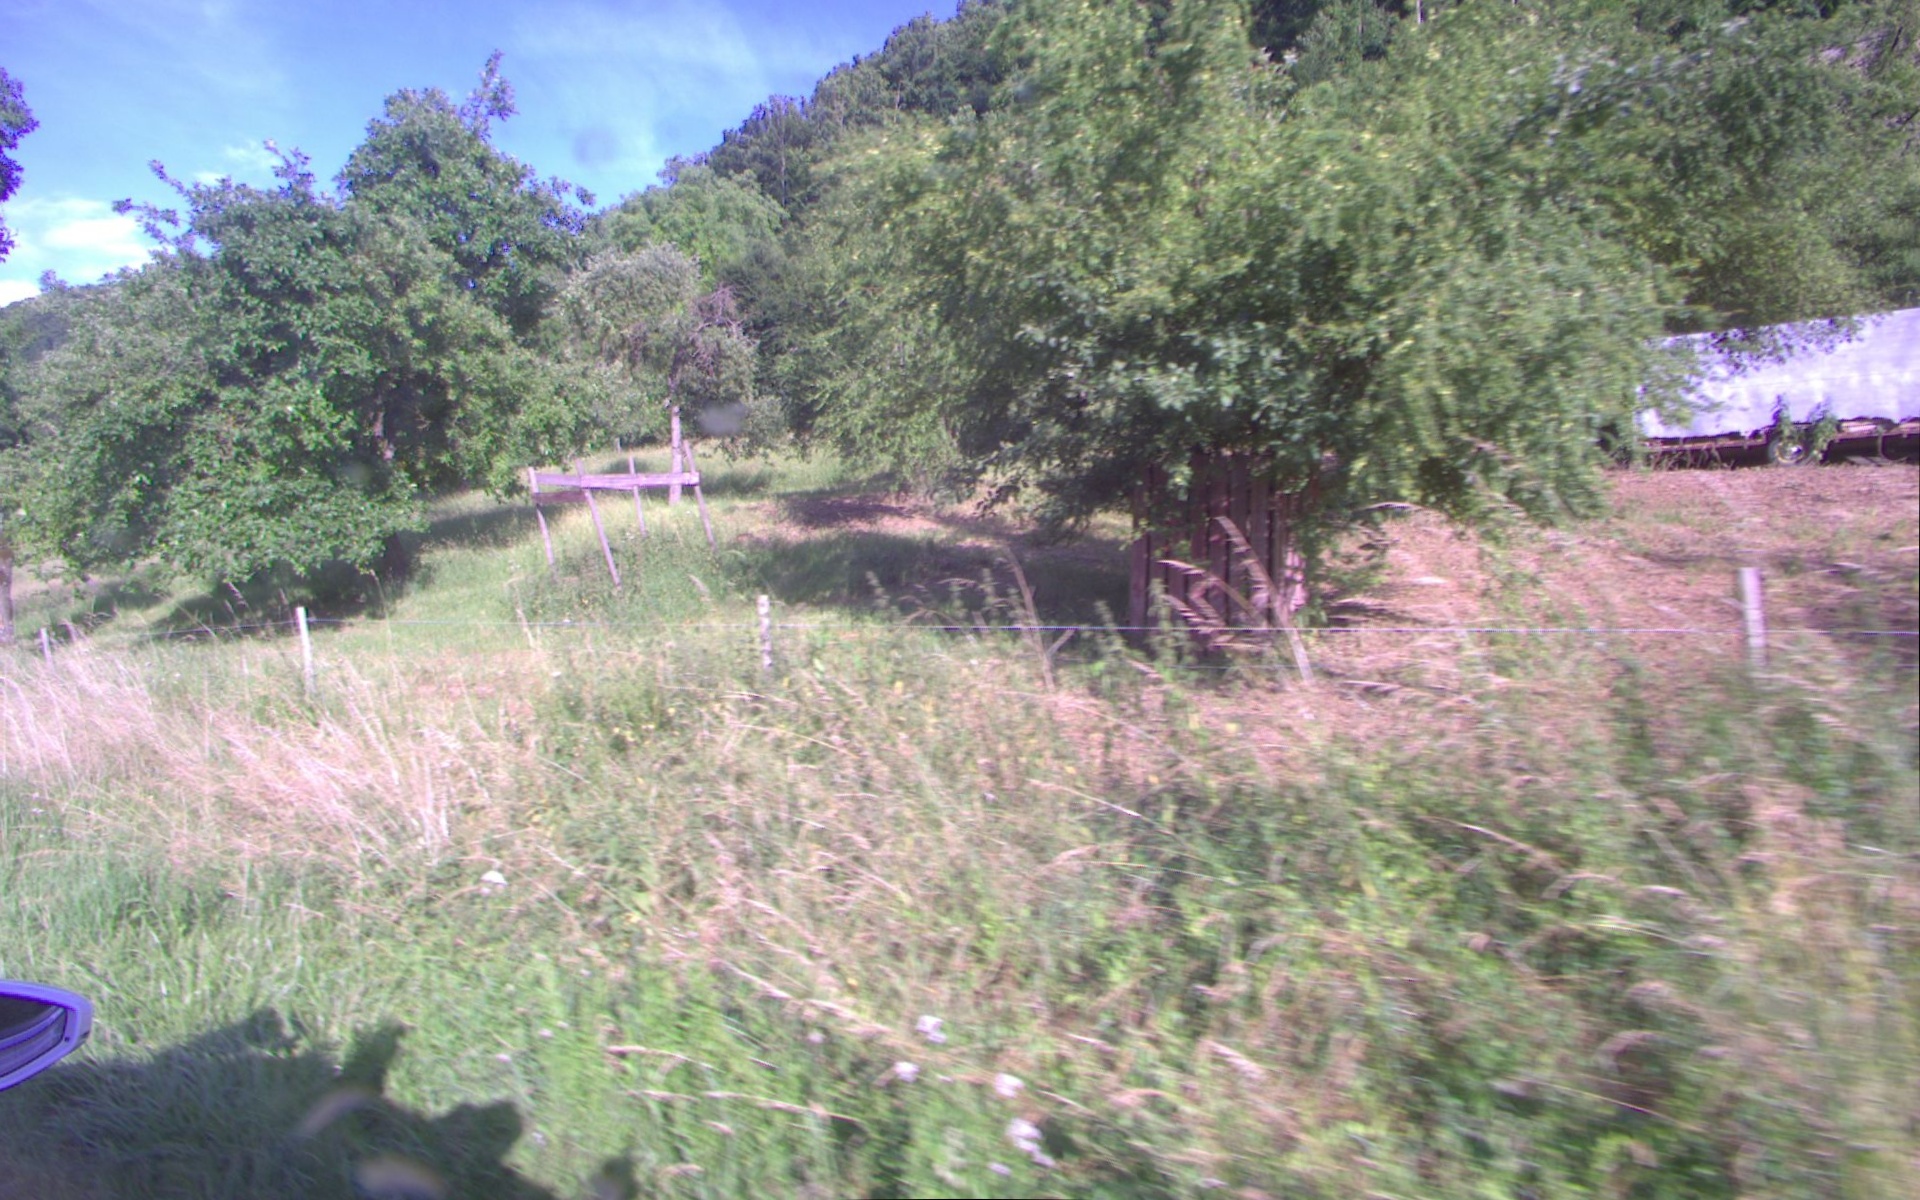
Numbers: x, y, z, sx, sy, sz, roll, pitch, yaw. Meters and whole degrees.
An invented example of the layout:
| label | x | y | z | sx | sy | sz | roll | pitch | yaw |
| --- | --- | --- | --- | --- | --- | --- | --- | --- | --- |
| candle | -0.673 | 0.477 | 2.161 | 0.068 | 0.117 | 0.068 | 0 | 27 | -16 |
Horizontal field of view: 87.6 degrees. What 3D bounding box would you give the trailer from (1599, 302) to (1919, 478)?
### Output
| label | x | y | z | sx | sy | sz | roll | pitch | yaw |
| --- | --- | --- | --- | --- | --- | --- | --- | --- | --- |
| trailer | 14.711 | -3.627 | 17.989 | 5.164 | 2.595 | 2.149 | 3 | 4 | 29 |
